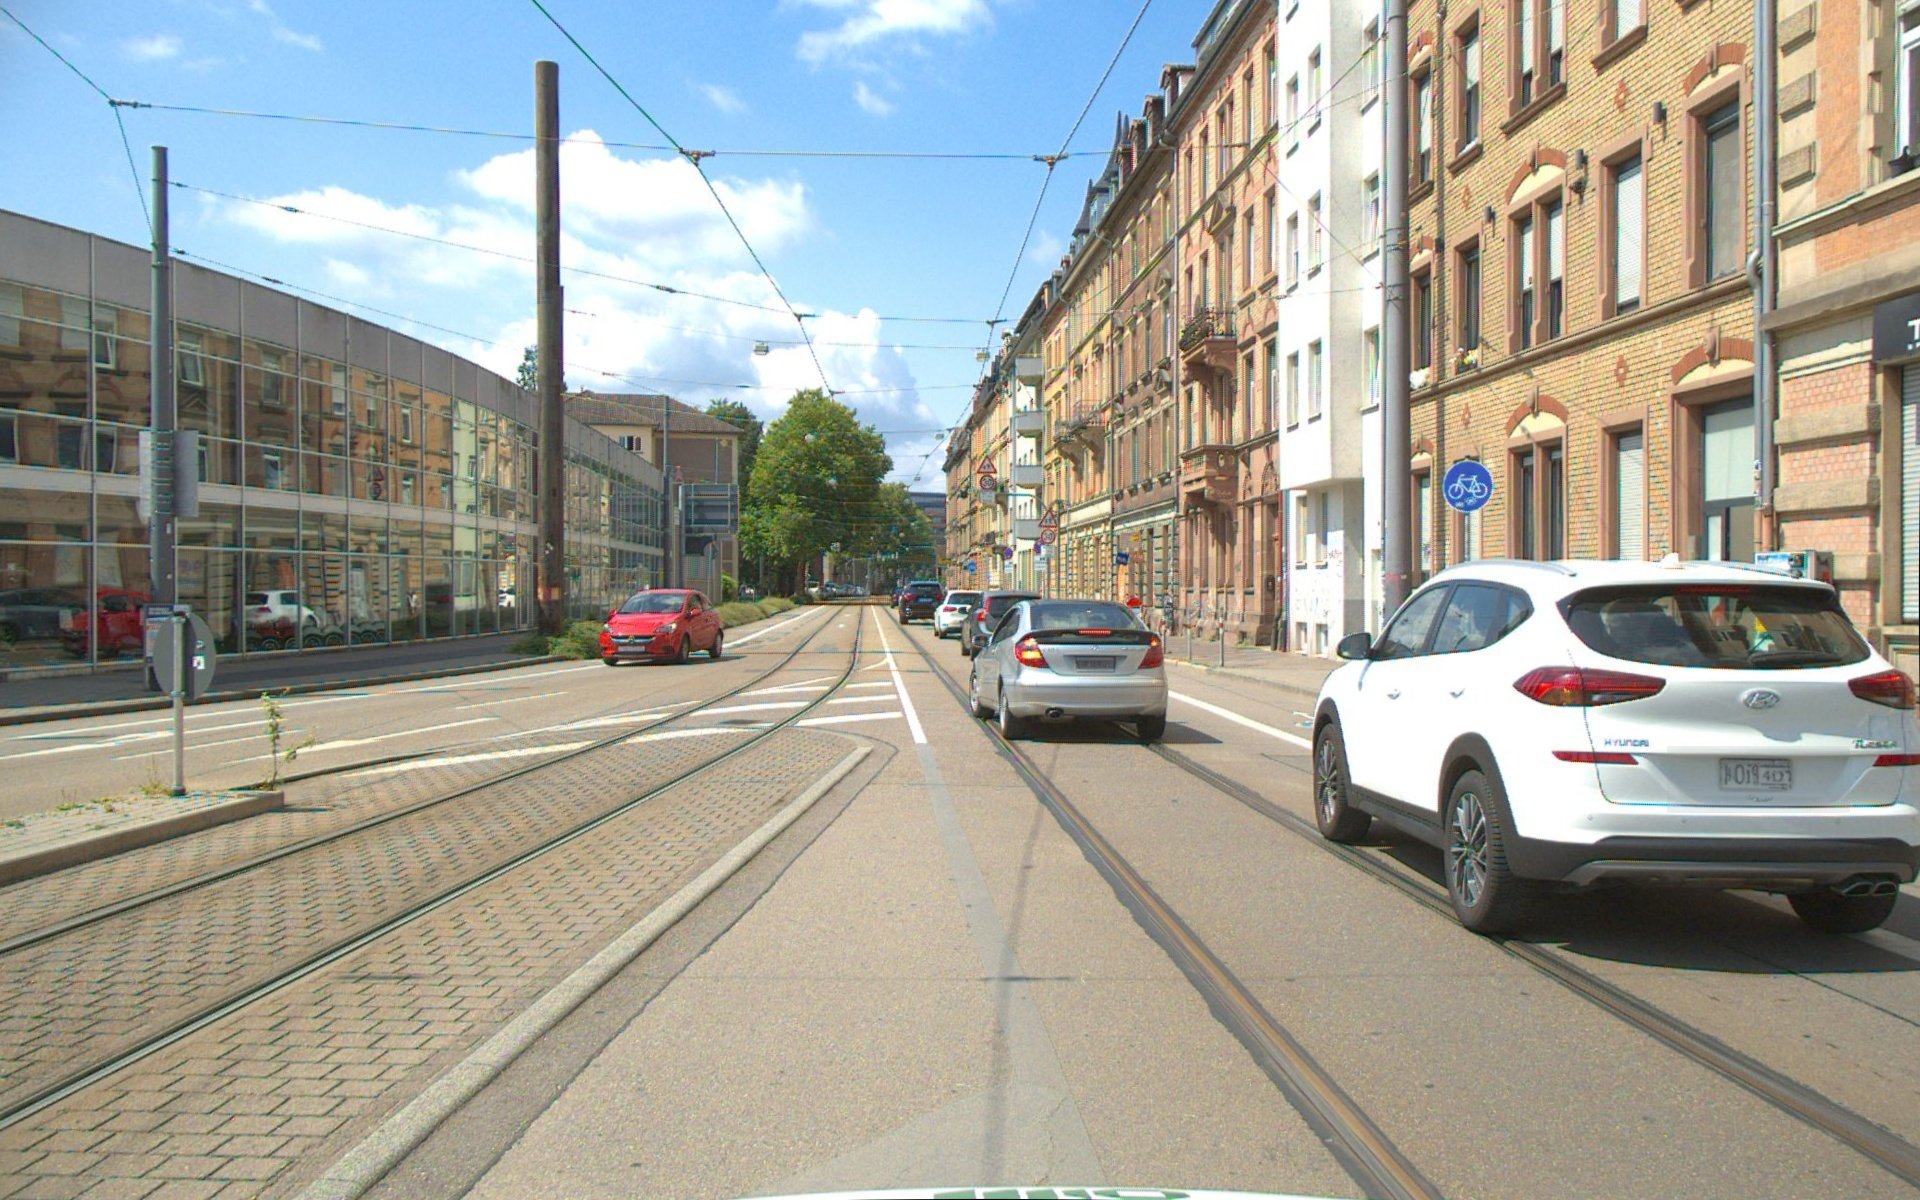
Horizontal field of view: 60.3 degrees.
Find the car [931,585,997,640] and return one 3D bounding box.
[{"bbox_3d":[0.084,0.337,50.474,1.778,1.550,3.953,-1,1,-3],"label":"car"}]

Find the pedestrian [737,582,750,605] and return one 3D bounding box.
[{"bbox_3d":[-17.788,-0.550,135.883,0.862,1.898,1.080,-1,1,-3],"label":"pedestrian"}]

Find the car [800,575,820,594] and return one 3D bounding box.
[{"bbox_3d":[-15.659,-1.626,173.184,1.911,1.928,4.562,0,1,-3],"label":"car"}]

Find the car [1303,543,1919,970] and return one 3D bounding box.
[{"bbox_3d":[3.150,0.623,8.593,1.814,1.662,4.180,1,0,-1],"label":"car"}]

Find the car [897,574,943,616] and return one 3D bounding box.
[{"bbox_3d":[-1.704,-0.214,68.999,1.778,1.690,4.082,0,1,-3],"label":"car"}]

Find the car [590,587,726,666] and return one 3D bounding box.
[{"bbox_3d":[-6.103,0.497,33.836,1.666,1.453,3.905,-1,1,6],"label":"car"}]

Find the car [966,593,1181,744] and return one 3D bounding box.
[{"bbox_3d":[1.114,0.650,18.090,1.779,1.445,4.184,0,0,-4],"label":"car"}]

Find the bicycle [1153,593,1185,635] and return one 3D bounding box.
[{"bbox_3d":[6.283,0.412,49.765,0.574,1.199,2.204,-1,1,-2],"label":"bicycle"}]

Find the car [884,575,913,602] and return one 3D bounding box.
[{"bbox_3d":[-4.414,-0.820,118.256,1.954,1.892,3.996,0,1,-5],"label":"car"}]

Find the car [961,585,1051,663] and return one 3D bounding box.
[{"bbox_3d":[0.930,0.471,35.565,1.777,1.550,4.085,0,1,0],"label":"car"}]
